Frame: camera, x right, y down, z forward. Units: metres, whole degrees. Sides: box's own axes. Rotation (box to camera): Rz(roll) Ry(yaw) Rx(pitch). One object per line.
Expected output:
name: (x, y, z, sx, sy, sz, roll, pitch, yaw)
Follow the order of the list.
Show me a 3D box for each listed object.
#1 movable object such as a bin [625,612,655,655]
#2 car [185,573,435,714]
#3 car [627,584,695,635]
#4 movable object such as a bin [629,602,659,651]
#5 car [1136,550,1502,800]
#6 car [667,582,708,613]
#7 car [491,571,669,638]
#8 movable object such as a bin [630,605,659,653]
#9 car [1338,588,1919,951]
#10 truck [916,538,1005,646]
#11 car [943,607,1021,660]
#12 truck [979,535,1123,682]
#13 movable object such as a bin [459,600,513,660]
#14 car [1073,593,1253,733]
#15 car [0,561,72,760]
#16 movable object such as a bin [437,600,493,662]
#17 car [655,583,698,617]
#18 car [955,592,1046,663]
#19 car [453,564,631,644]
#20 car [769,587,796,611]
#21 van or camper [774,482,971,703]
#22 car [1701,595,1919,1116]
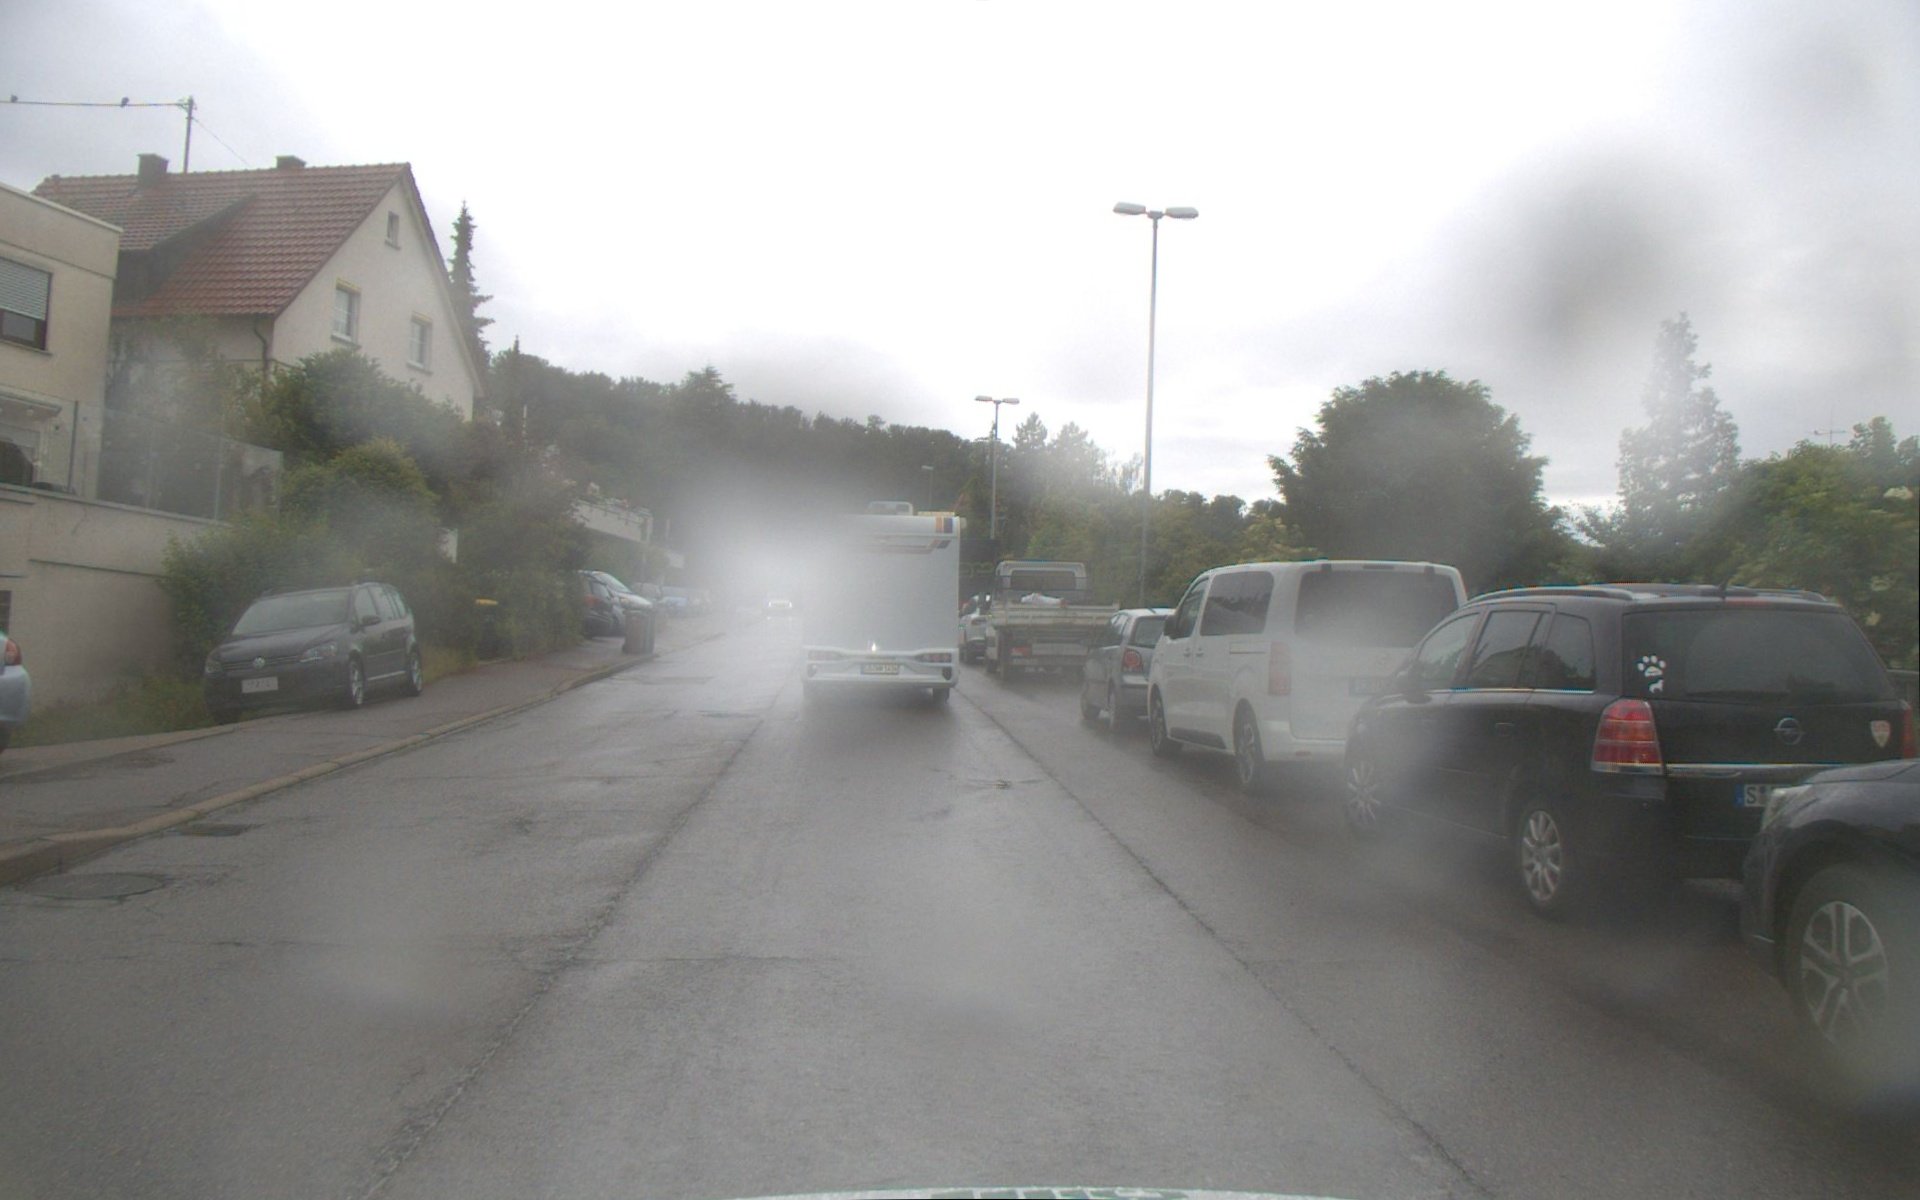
movable object such as a bin: (-7.194, 0.748, 37.163, 0.591, 0.944, 0.563, 3, 0, -9)
car: (-8.282, 0.526, 21.529, 1.767, 1.625, 4.413, 1, 0, -4)
car: (-11.133, 0.331, 61.796, 1.656, 1.615, 4.196, 8, 0, -1)
movable object such as a bin: (-7.257, 0.595, 37.965, 0.591, 1.082, 0.637, 3, 0, -9)
car: (3.046, 0.599, 15.213, 1.813, 1.915, 4.903, 1, 0, -7)
car: (-14.166, -0.111, 86.266, 1.601, 1.420, 4.235, 5, 0, -4)
car: (-11.853, 0.139, 51.764, 4.976, 1.978, 2.143, 1, 0, 12)
movable object such as a bin: (-7.352, 0.682, 38.603, 0.591, 1.082, 0.697, 3, 0, -9)
car: (3.554, 0.757, 9.382, 1.612, 1.568, 4.351, 1, 0, -3)
truck: (-0.086, -0.215, 56.057, 2.388, 3.394, 7.957, 1, 0, -4)
car: (0.596, 0.956, 48.513, 1.796, 1.463, 4.981, 1, 0, -5)
truck: (1.711, 0.175, 33.590, 2.194, 2.678, 6.534, 1, 0, -3)
movable object such as a bin: (-8.870, 0.557, 30.967, 0.683, 1.102, 0.710, 1, 0, 15)
car: (2.465, 0.738, 20.946, 1.615, 1.591, 3.961, 1, 0, -3)
car: (-9.152, 0.621, 12.683, 3.746, 1.503, 1.805, -5, -2, 10)
movable object such as a bin: (-9.048, 0.559, 30.250, 0.683, 1.102, 0.710, 1, 0, 15)
car: (-13.731, -0.010, 80.251, 1.576, 1.459, 3.955, 5, 0, -5)
car: (0.936, 0.654, 40.690, 1.725, 1.632, 4.662, 1, 0, -5)
car: (-10.943, 0.116, 43.434, 3.970, 1.721, 1.895, 5, -1, 9)
car: (-12.896, -0.084, 120.413, 1.869, 1.635, 4.422, 2, 0, -6)
van or camper: (-1.380, -0.012, 25.605, 2.564, 2.903, 6.025, 3, -2, -4)
car: (3.779, 0.753, 3.862, 1.780, 1.533, 4.721, 1, 0, -3)
